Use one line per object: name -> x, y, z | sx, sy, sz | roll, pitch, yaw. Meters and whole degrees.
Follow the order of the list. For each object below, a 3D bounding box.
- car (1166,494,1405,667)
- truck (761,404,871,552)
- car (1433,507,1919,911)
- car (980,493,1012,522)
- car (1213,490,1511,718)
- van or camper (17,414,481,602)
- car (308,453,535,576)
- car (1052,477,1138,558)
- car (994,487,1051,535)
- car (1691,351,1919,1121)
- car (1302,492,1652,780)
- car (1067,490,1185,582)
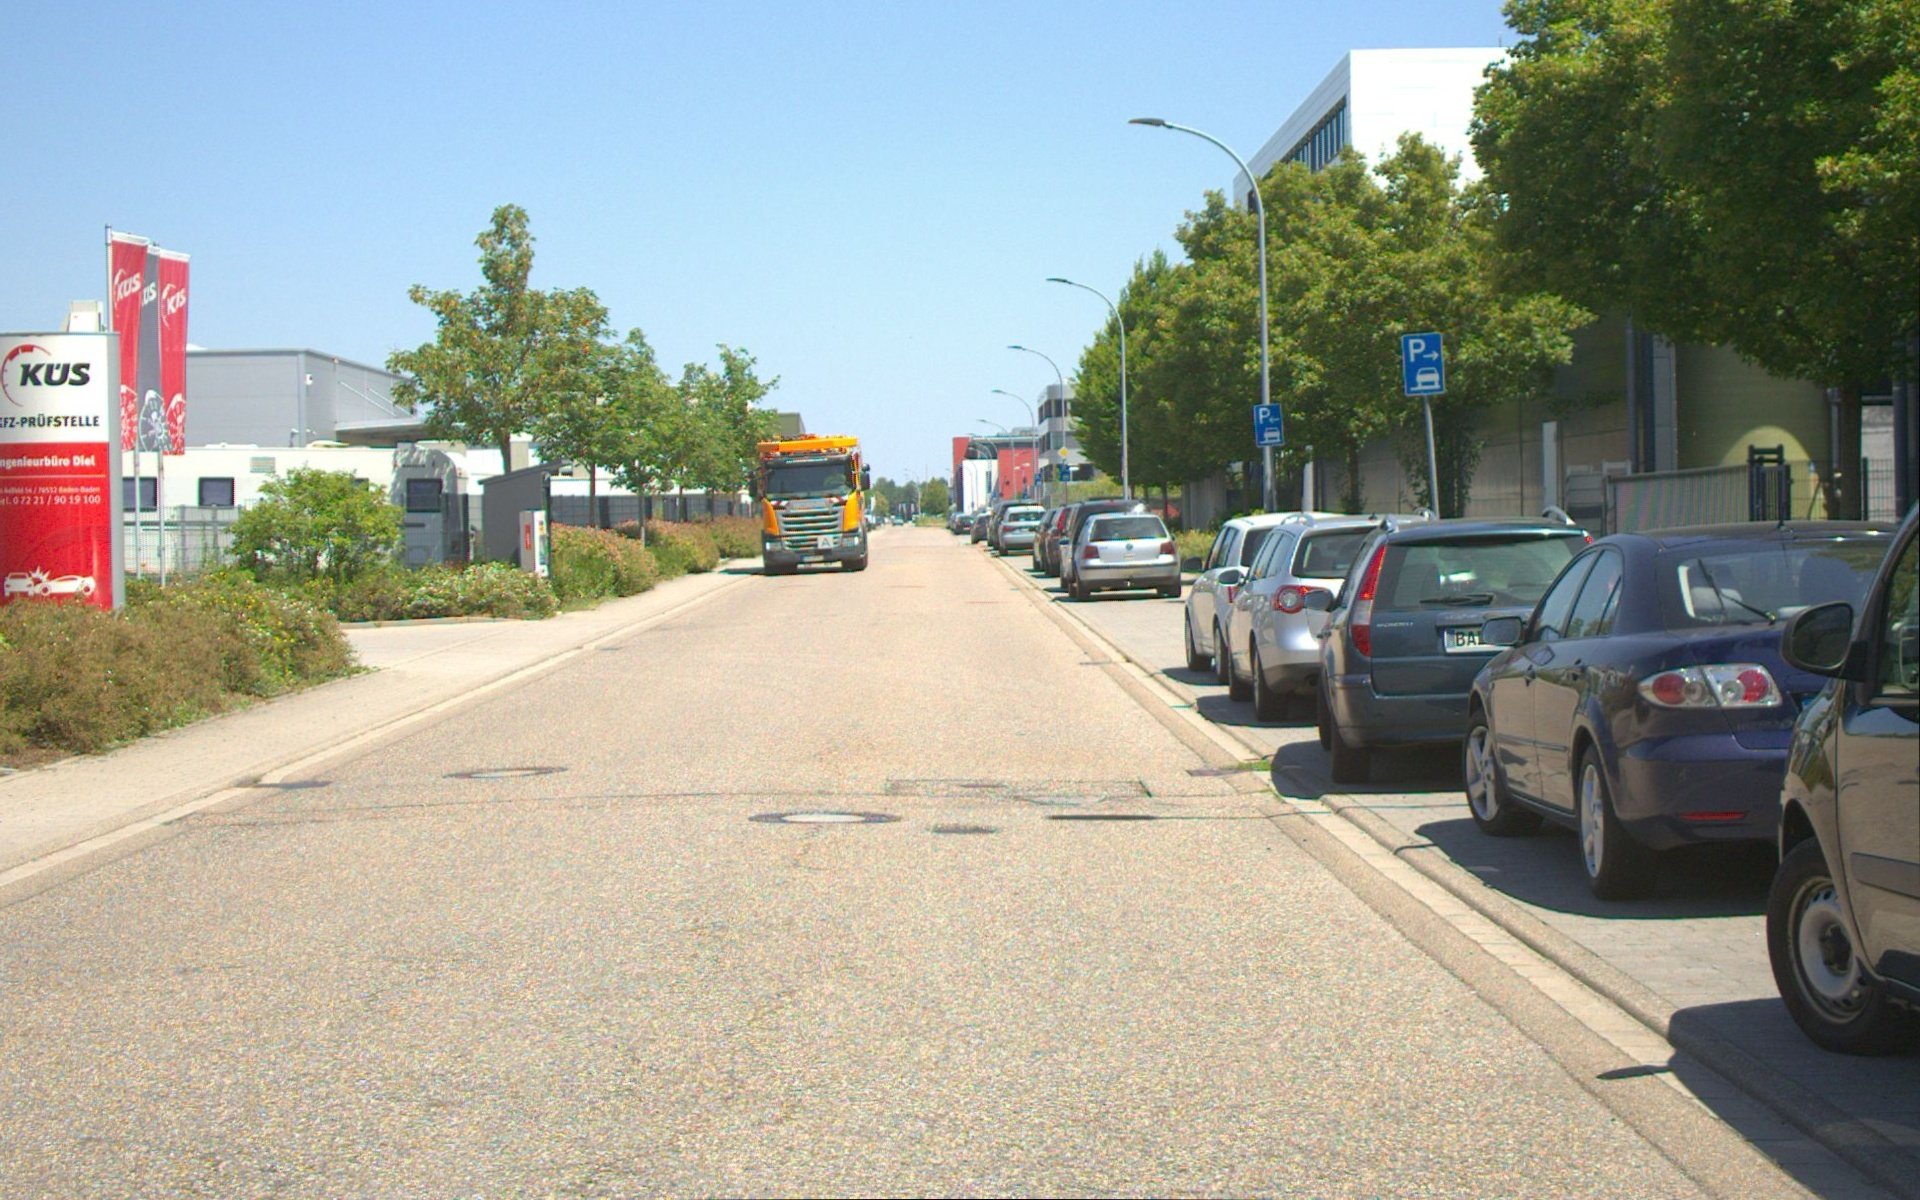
car -> 2.977, -0.229, 32.078 | 1.636, 1.464, 3.746 | -2, 2, -3
truck -> -3.612, -3.118, 87.892 | 2.448, 3.501, 8.273 | -2, 2, -1
car -> 3.299, 0.336, 14.700 | 1.850, 1.426, 4.713 | -1, 1, 0
car -> 1.765, -4.558, 168.801 | 1.495, 1.405, 3.500 | -1, 2, -1
car -> 2.997, -0.040, 26.462 | 1.748, 1.556, 4.506 | -2, 2, 0
van or camper -> -12.177, -1.588, 59.333 | 7.384, 3.027, 2.791 | -1, 2, -1
car -> -11.810, -1.882, 75.648 | 4.714, 2.577, 2.000 | -1, 2, -4
car -> 2.939, -1.827, 75.320 | 1.722, 1.688, 3.984 | -1, 2, 0
car -> 1.890, -2.697, 104.407 | 1.585, 1.405, 3.500 | -1, 2, -1
car -> 3.251, 0.302, 8.199 | 1.993, 1.819, 4.354 | -1, 1, -1
car -> 2.982, 0.144, 20.639 | 1.709, 1.499, 4.705 | -1, 1, 4
car -> 2.743, -1.089, 57.434 | 1.718, 1.445, 3.646 | -2, 1, -1
